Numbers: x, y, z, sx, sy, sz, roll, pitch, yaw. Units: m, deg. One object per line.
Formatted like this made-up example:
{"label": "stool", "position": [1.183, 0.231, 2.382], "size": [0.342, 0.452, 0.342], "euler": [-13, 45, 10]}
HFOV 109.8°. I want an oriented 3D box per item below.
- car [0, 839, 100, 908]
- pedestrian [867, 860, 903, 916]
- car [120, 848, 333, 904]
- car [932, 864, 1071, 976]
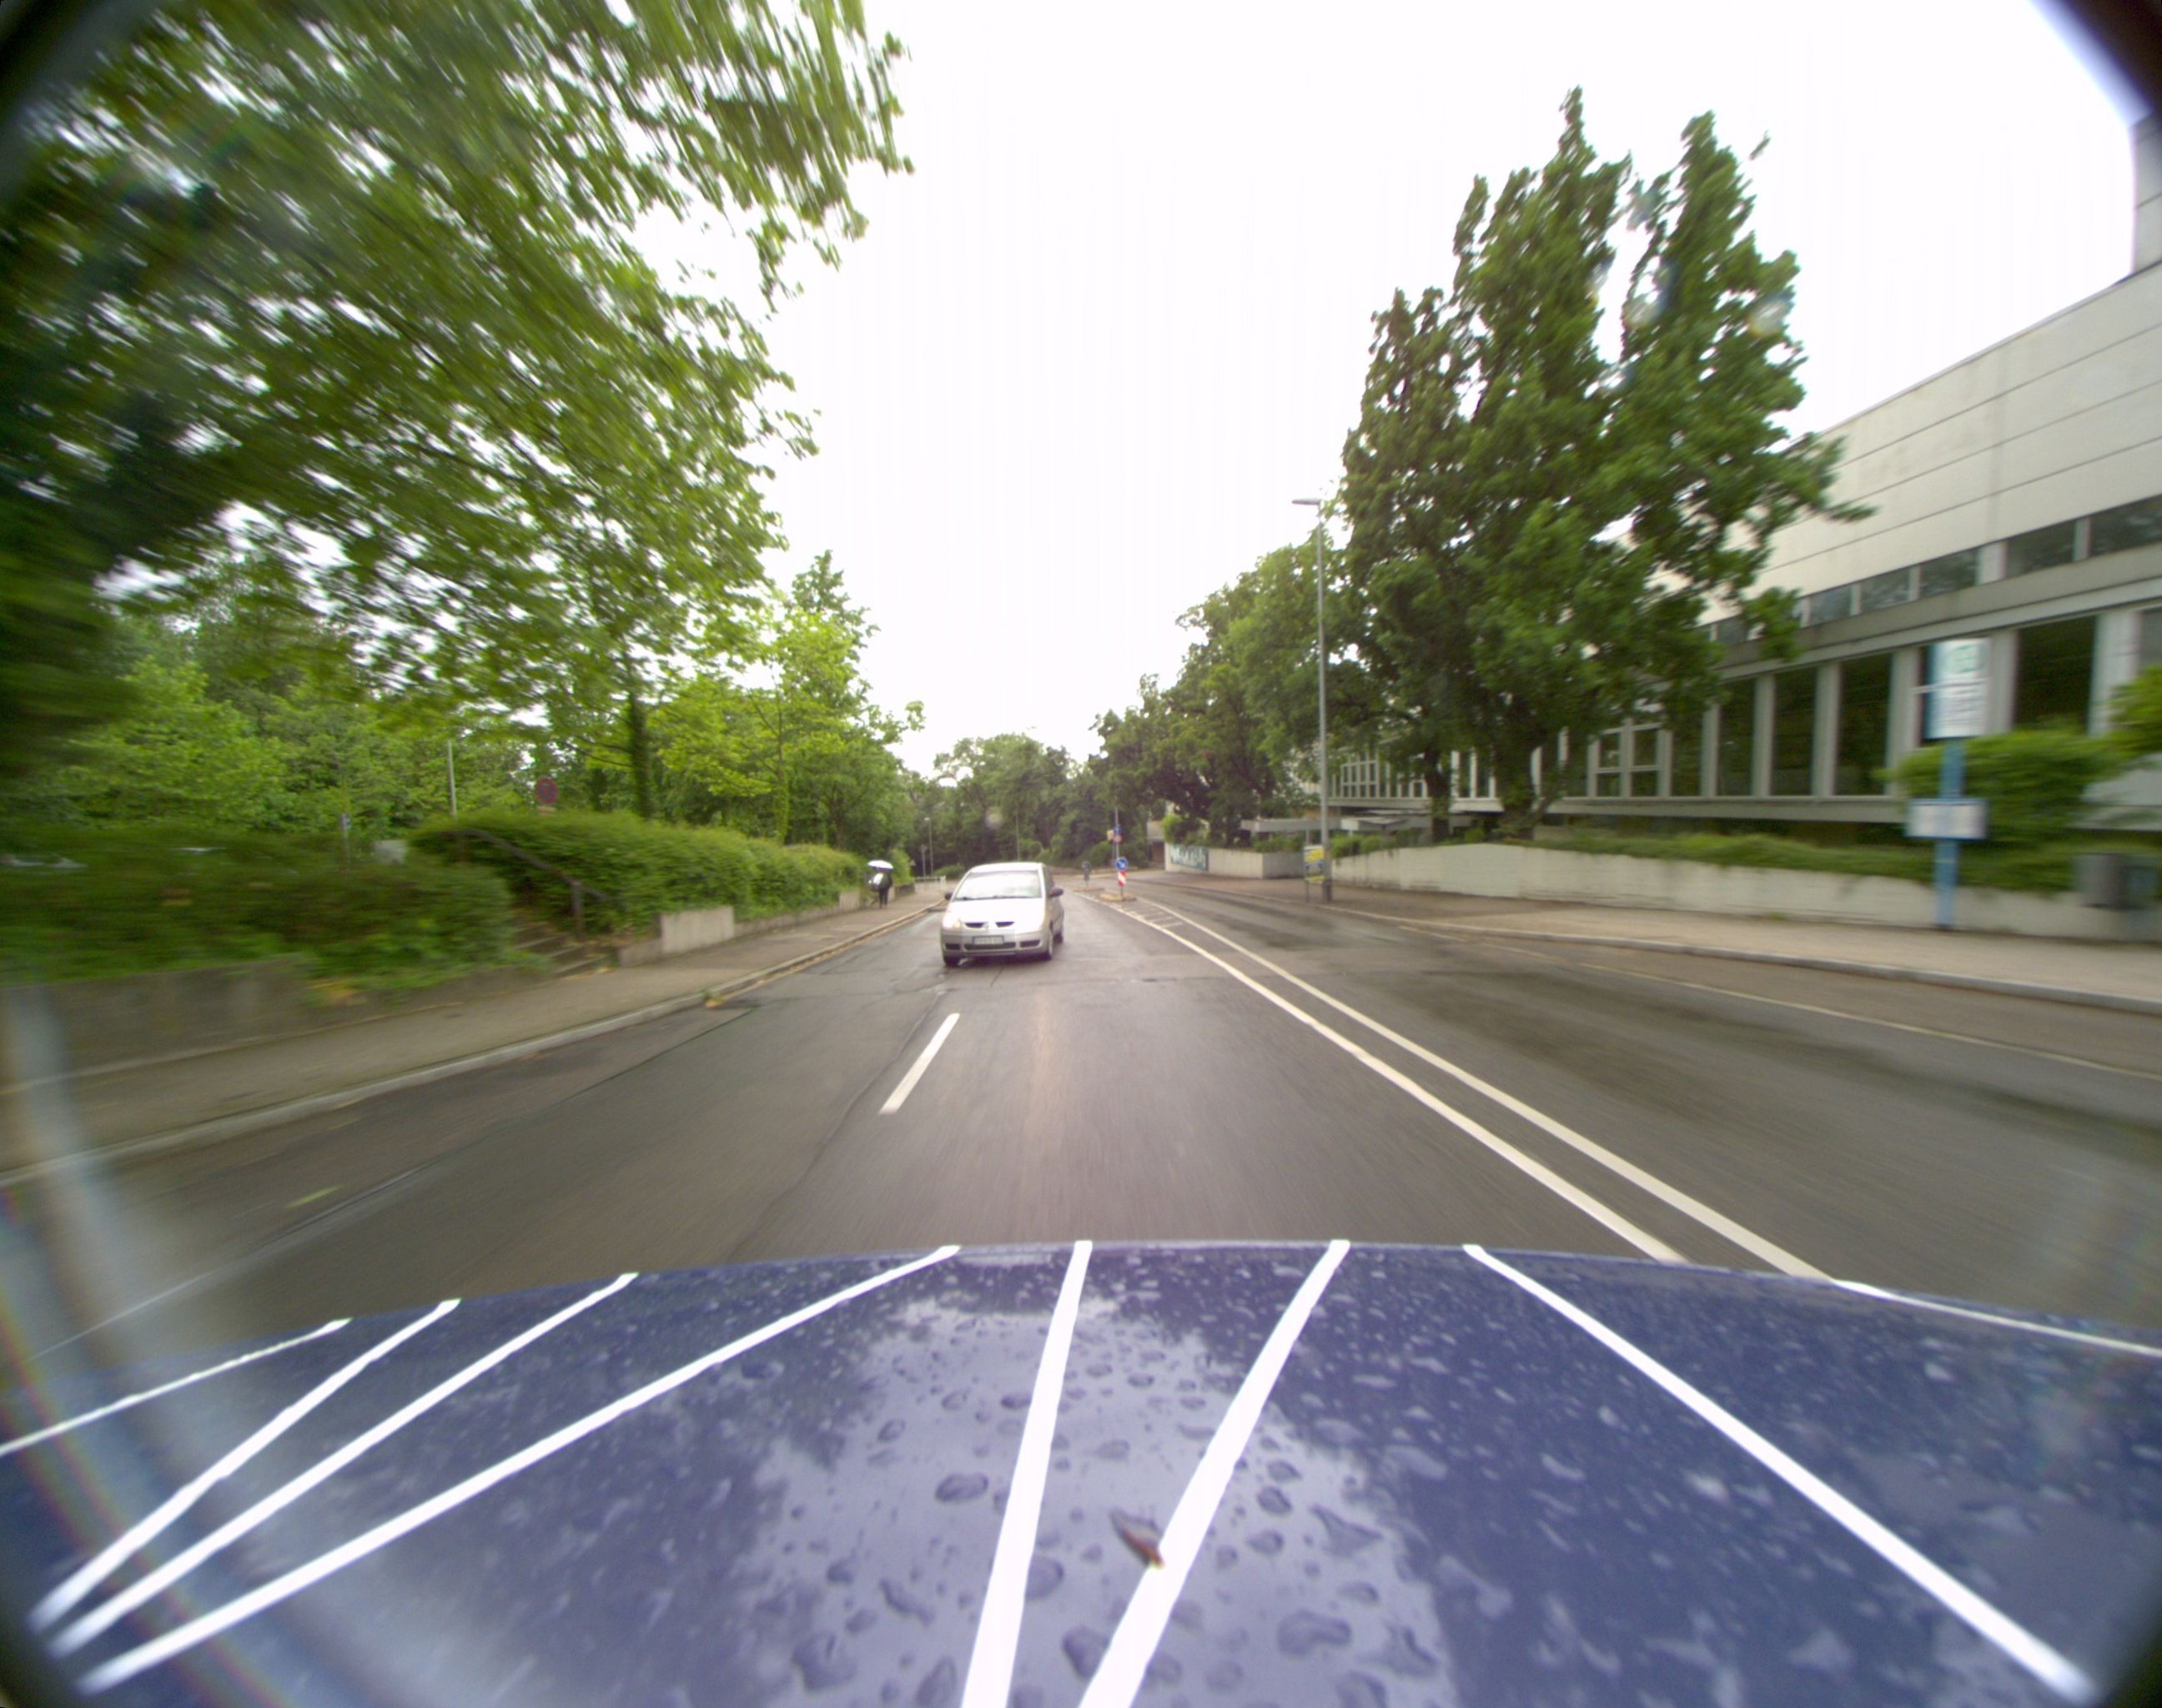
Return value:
{"label": "car", "position": [-32.616, 0.608, 22.399], "size": [1.706, 2.002, 4.354], "euler": [-4, 0, -2]}
{"label": "pedestrian", "position": [-7.080, 1.206, 27.511], "size": [1.054, 1.883, 1.132], "euler": [-3, 2, -8]}
{"label": "car", "position": [-26.221, 0.633, 23.581], "size": [1.900, 1.444, 4.170], "euler": [-4, 0, -3]}
{"label": "car", "position": [-1.179, 0.985, 13.004], "size": [1.639, 1.496, 4.001], "euler": [-2, 0, 4]}
